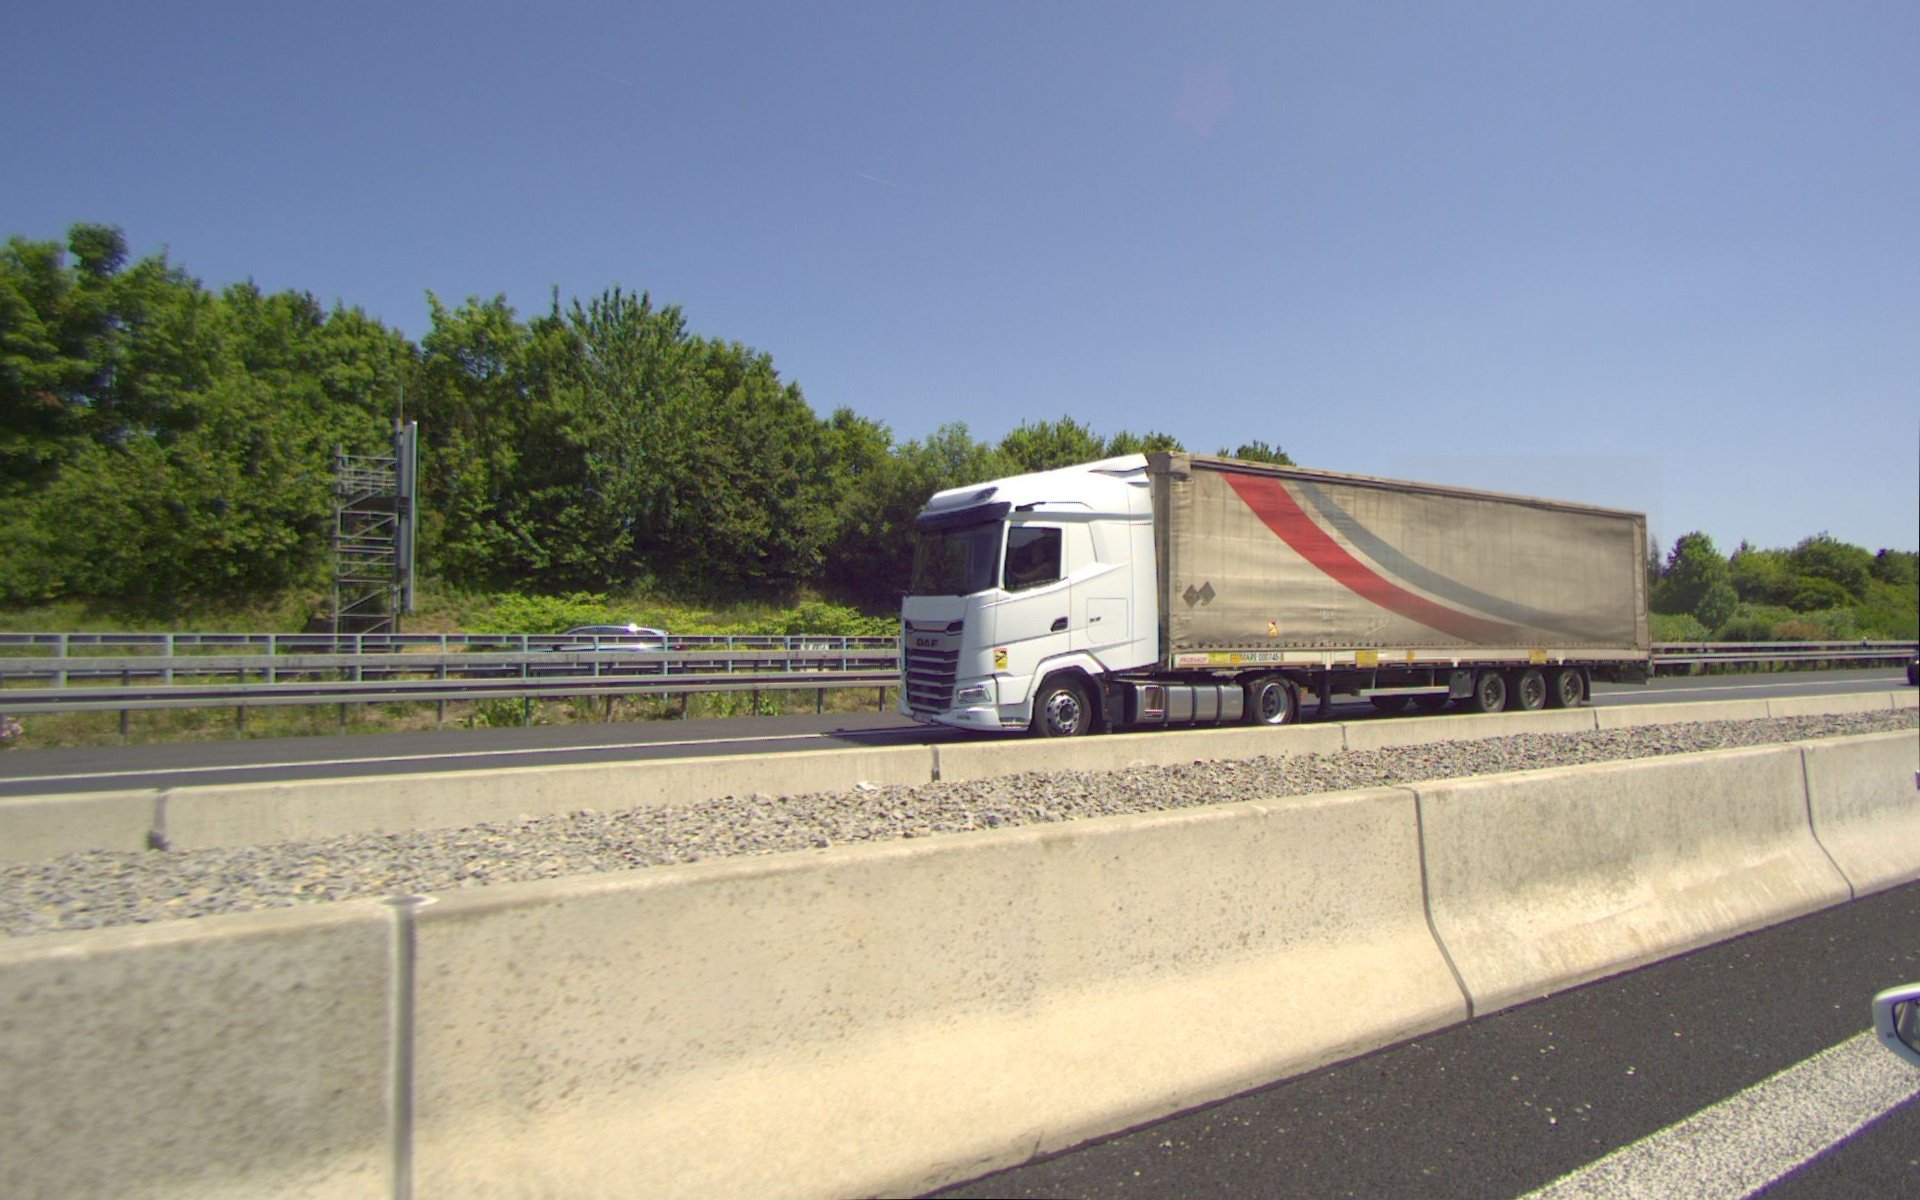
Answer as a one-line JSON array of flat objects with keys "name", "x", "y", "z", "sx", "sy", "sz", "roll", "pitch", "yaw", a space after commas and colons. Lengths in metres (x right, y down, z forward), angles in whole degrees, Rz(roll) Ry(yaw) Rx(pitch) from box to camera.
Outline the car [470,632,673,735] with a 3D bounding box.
[{"name": "car", "x": -8.705, "y": 1.803, "z": 22.549, "sx": 3.953, "sy": 2.040, "sz": 1.984, "roll": 2, "pitch": 0, "yaw": -30}]

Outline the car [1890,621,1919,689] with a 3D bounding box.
[{"name": "car", "x": 31.254, "y": 1.744, "z": 31.494, "sx": 4.435, "sy": 2.040, "sz": 1.983, "roll": 2, "pitch": 0, "yaw": -32}]

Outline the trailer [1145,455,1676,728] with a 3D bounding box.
[{"name": "trailer", "x": 9.151, "y": 0.041, "z": 19.365, "sx": 11.921, "sy": 4.099, "sz": 2.896, "roll": 2, "pitch": 0, "yaw": -30}]

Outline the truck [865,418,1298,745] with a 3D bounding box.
[{"name": "truck", "x": 1.874, "y": -0.151, "z": 15.088, "sx": 5.829, "sy": 4.025, "sz": 2.914, "roll": 2, "pitch": 0, "yaw": -30}]
